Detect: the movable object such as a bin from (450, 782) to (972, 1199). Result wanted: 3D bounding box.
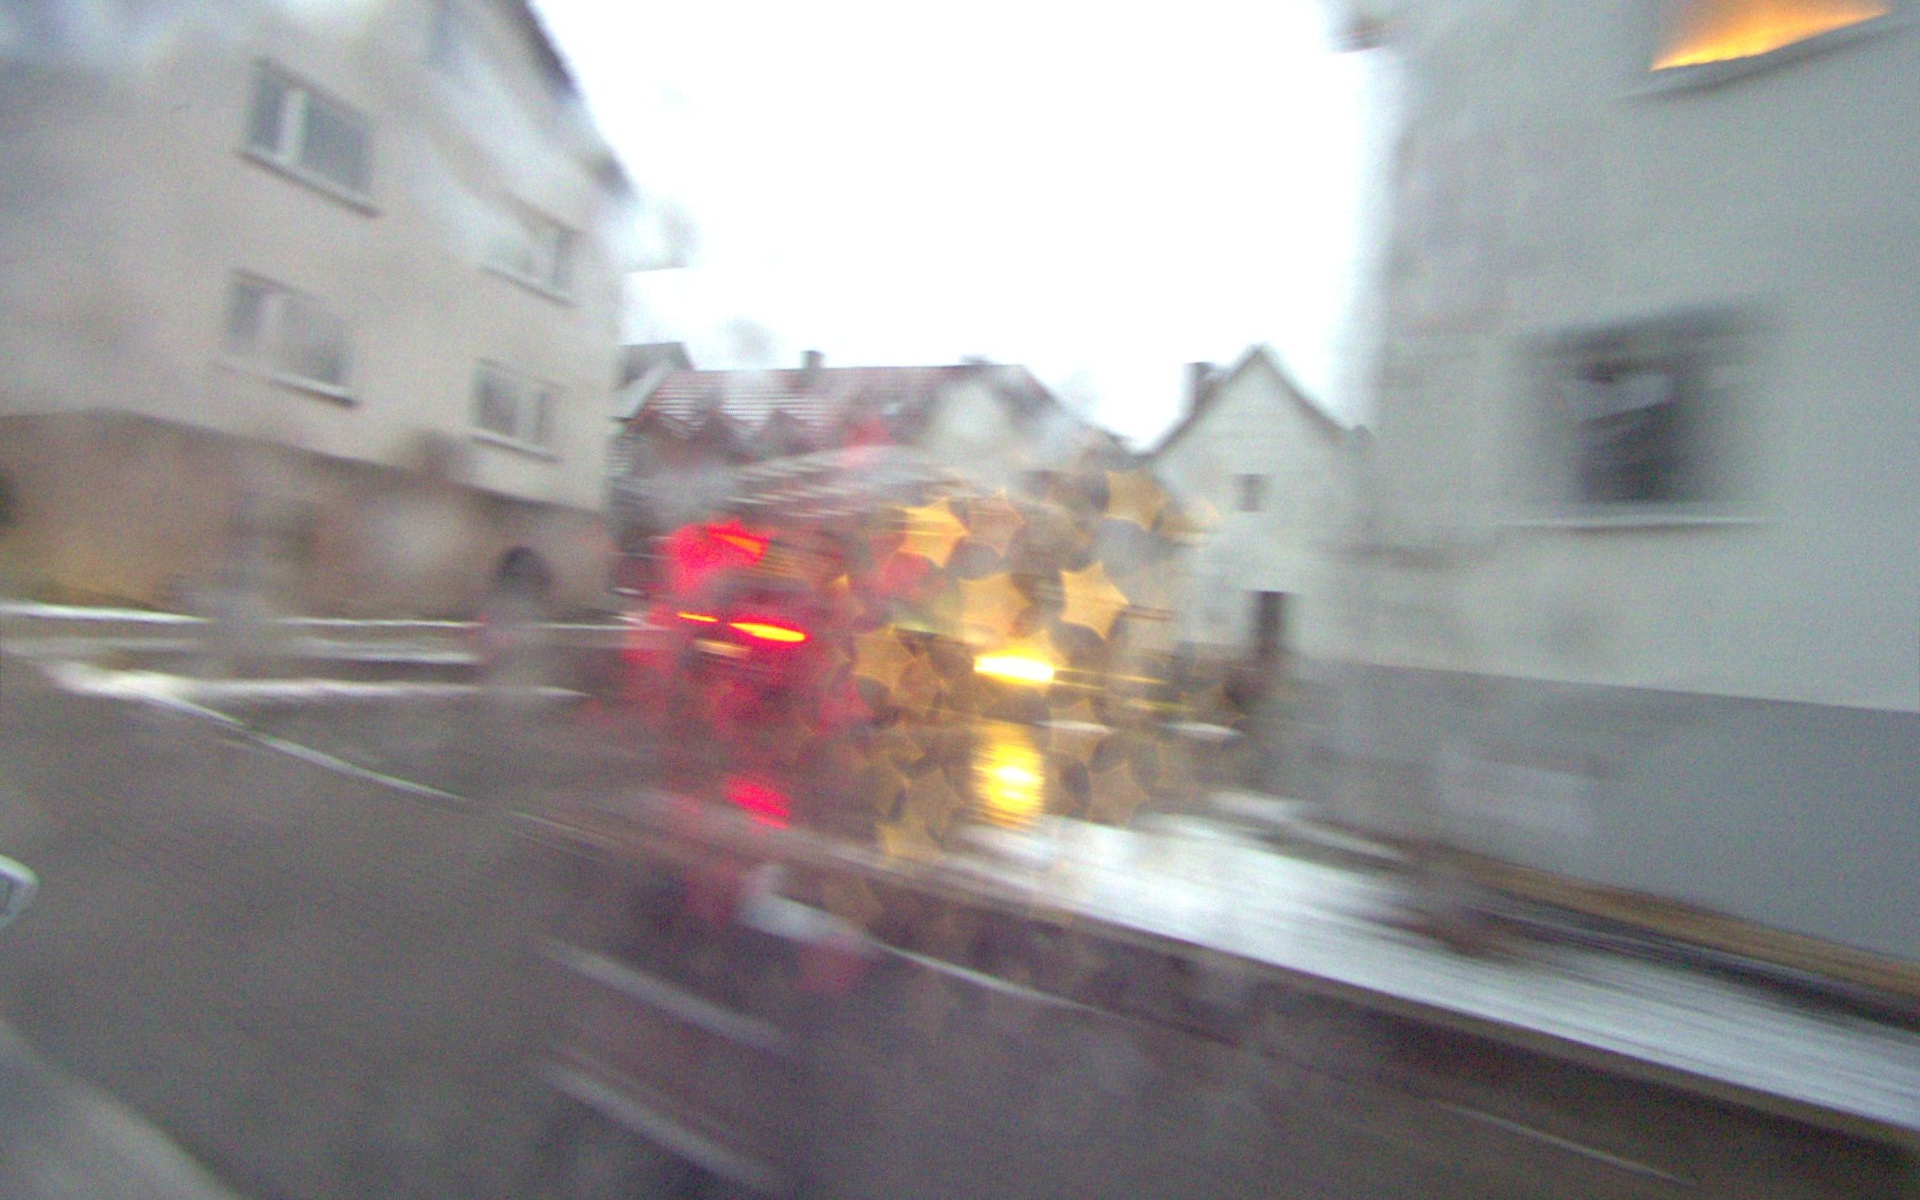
[{"bbox_3d":[-0.484,0.907,1.993,0.674,0.928,0.637,7,-1,34],"label":"movable object such as a bin"}]

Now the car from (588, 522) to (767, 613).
[{"bbox_3d":[-7.248,-0.839,25.835,3.929,1.792,2.000,6,-2,27],"label":"car"}]

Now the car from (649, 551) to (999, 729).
[{"bbox_3d":[-1.481,0.585,12.394,1.968,1.636,3.994,7,-2,34],"label":"car"}]
